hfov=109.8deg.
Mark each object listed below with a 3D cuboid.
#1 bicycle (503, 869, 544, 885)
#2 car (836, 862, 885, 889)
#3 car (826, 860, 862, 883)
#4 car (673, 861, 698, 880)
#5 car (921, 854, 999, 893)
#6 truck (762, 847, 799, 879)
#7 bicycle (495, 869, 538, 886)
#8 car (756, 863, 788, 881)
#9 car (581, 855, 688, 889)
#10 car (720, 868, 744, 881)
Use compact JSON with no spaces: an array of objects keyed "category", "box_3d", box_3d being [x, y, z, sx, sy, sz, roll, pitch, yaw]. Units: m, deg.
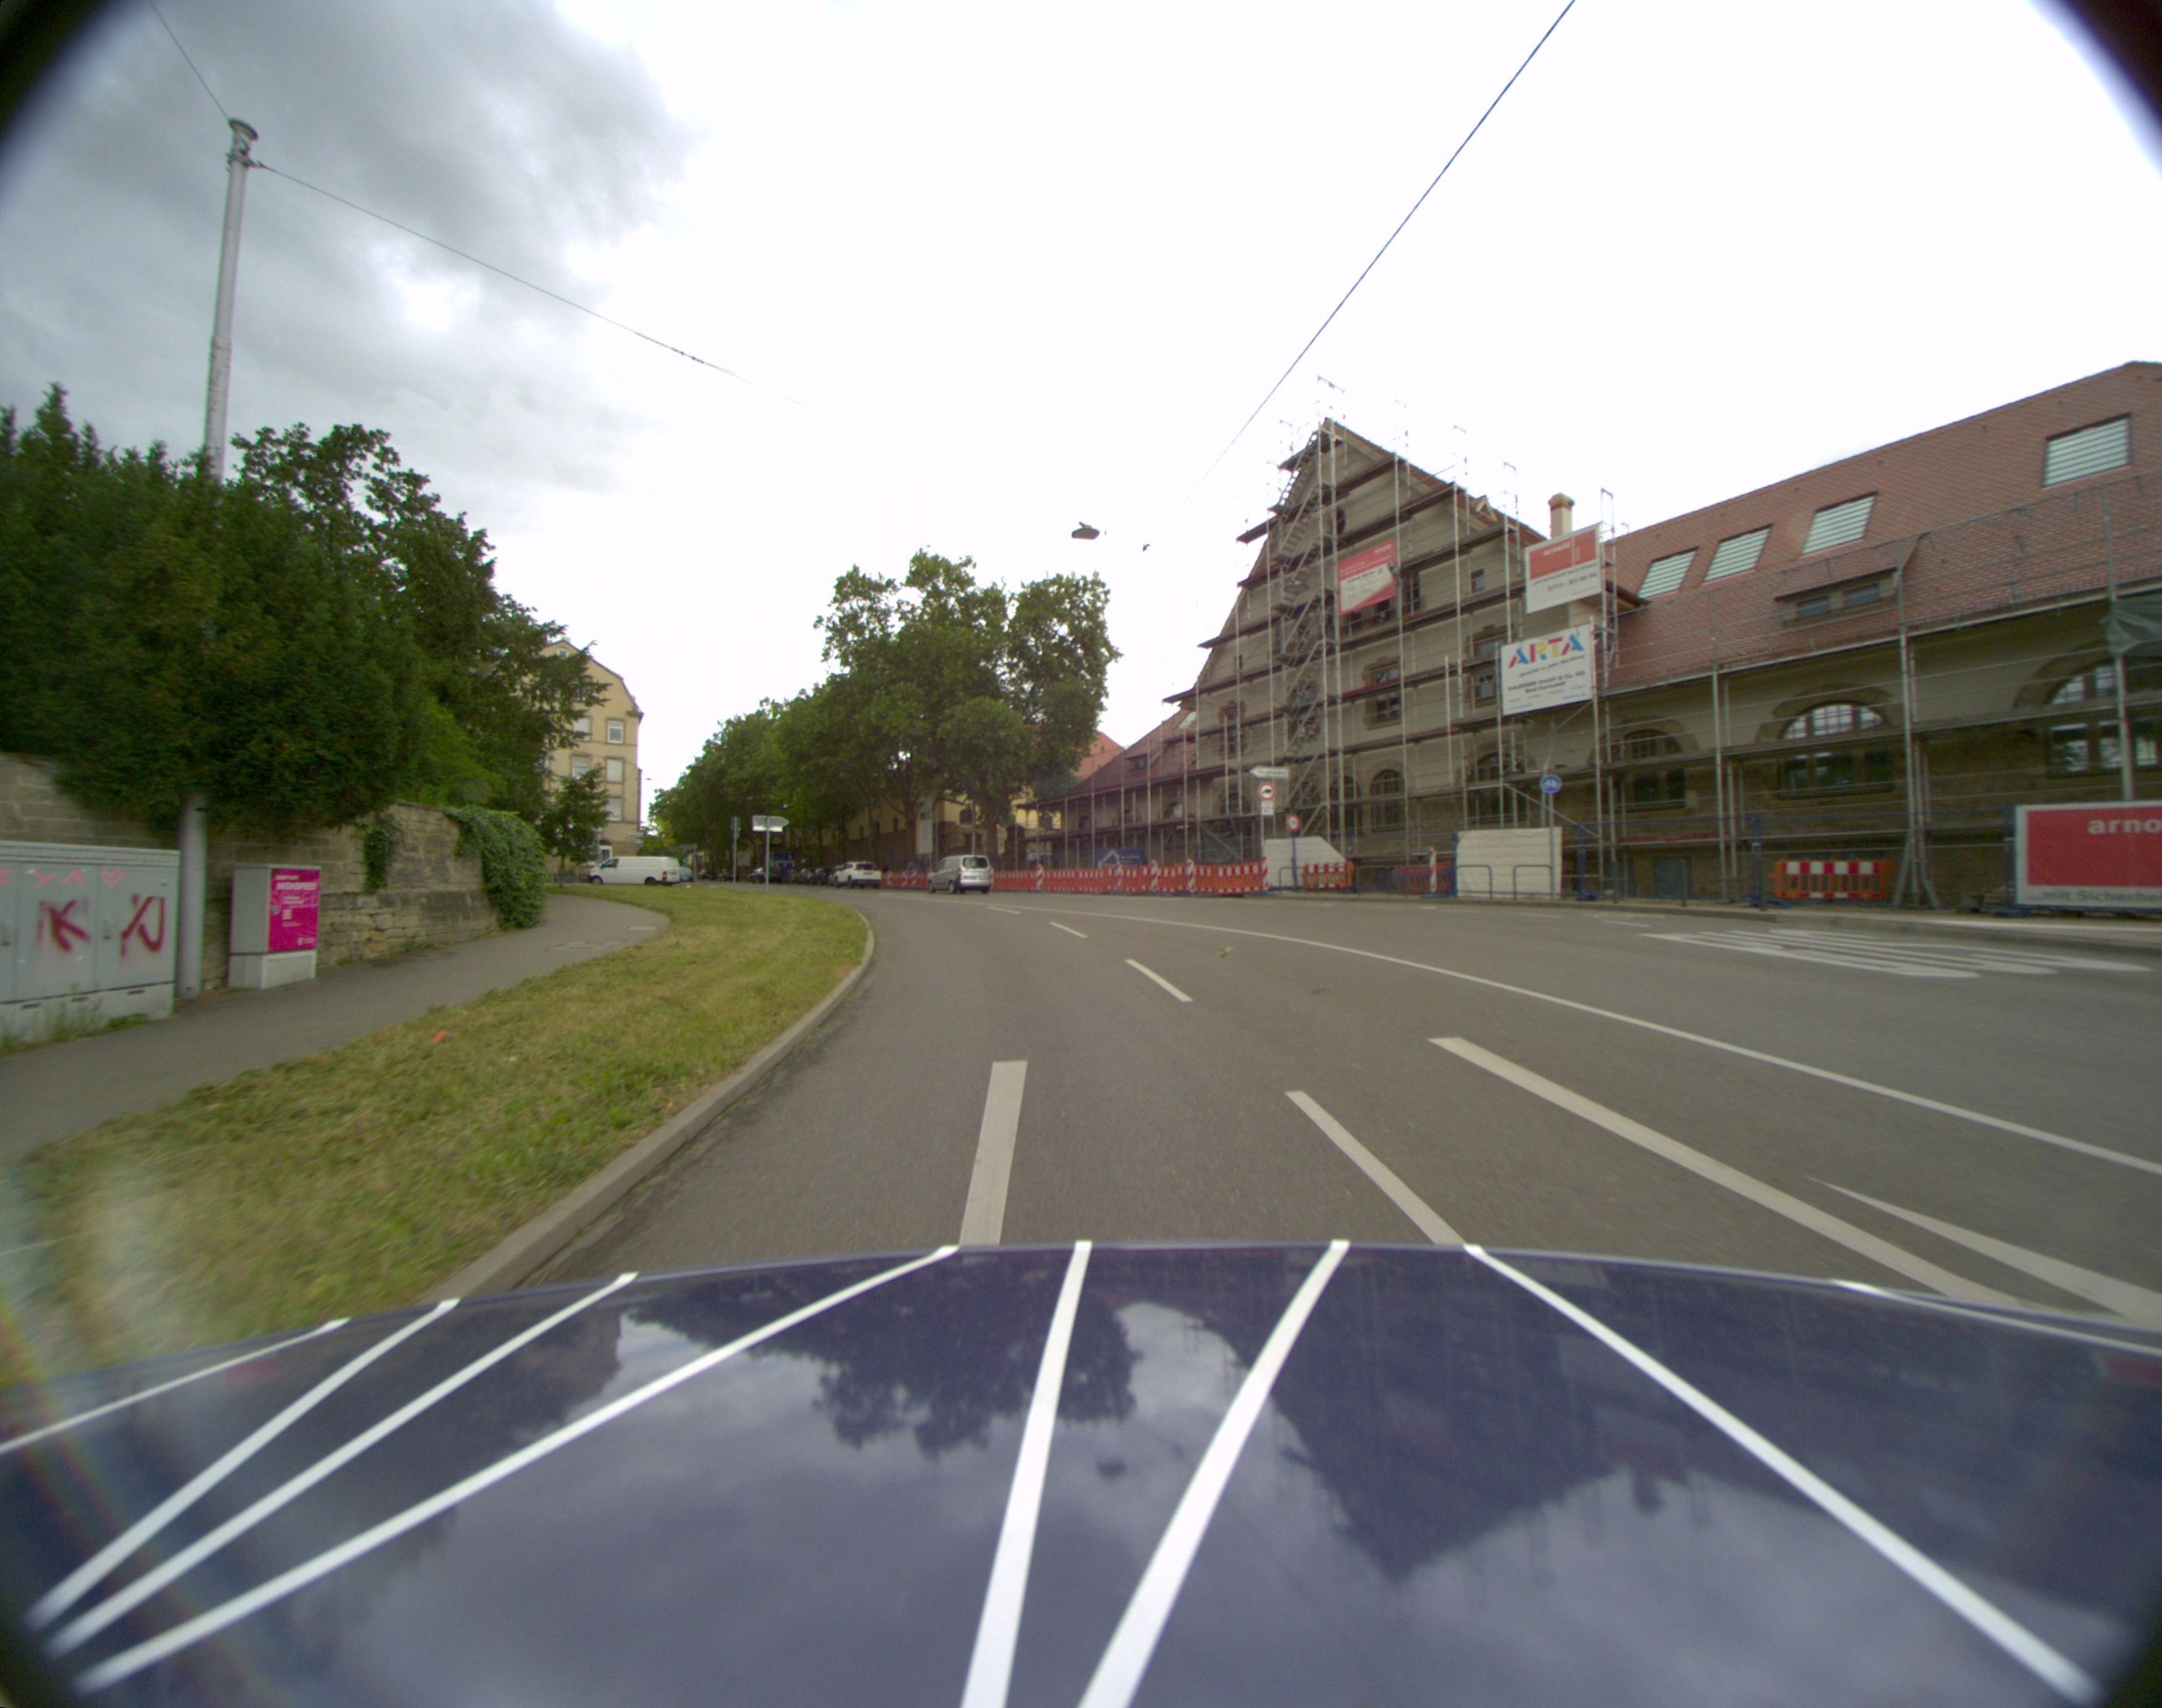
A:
[{"category":"bicycle","box_3d":[-38.102,1.590,51.929,2.189,1.059,0.600,1,-1,-16]},{"category":"car","box_3d":[-13.697,1.316,47.029,1.800,1.601,4.498,1,-2,-31]},{"category":"car","box_3d":[-20.447,1.525,65.406,1.843,1.865,4.405,1,-2,-33]},{"category":"car","box_3d":[-35.316,1.464,67.834,1.573,1.600,3.645,1,-2,-34]},{"category":"car","box_3d":[-5.490,0.818,34.106,1.701,1.604,4.072,-2,1,-37]},{"category":"truck","box_3d":[-33.665,1.011,84.946,2.226,3.396,7.229,-2,0,-35]},{"category":"bicycle","box_3d":[-37.860,1.576,50.969,2.189,1.059,0.600,1,-1,-16]},{"category":"car","box_3d":[-28.177,1.644,69.190,1.810,1.464,4.837,-3,1,-32]},{"category":"car","box_3d":[-27.423,1.074,46.802,5.236,1.920,2.212,-1,0,1]},{"category":"car","box_3d":[-38.609,2.272,83.953,1.708,1.417,4.239,2,-2,-34]}]
